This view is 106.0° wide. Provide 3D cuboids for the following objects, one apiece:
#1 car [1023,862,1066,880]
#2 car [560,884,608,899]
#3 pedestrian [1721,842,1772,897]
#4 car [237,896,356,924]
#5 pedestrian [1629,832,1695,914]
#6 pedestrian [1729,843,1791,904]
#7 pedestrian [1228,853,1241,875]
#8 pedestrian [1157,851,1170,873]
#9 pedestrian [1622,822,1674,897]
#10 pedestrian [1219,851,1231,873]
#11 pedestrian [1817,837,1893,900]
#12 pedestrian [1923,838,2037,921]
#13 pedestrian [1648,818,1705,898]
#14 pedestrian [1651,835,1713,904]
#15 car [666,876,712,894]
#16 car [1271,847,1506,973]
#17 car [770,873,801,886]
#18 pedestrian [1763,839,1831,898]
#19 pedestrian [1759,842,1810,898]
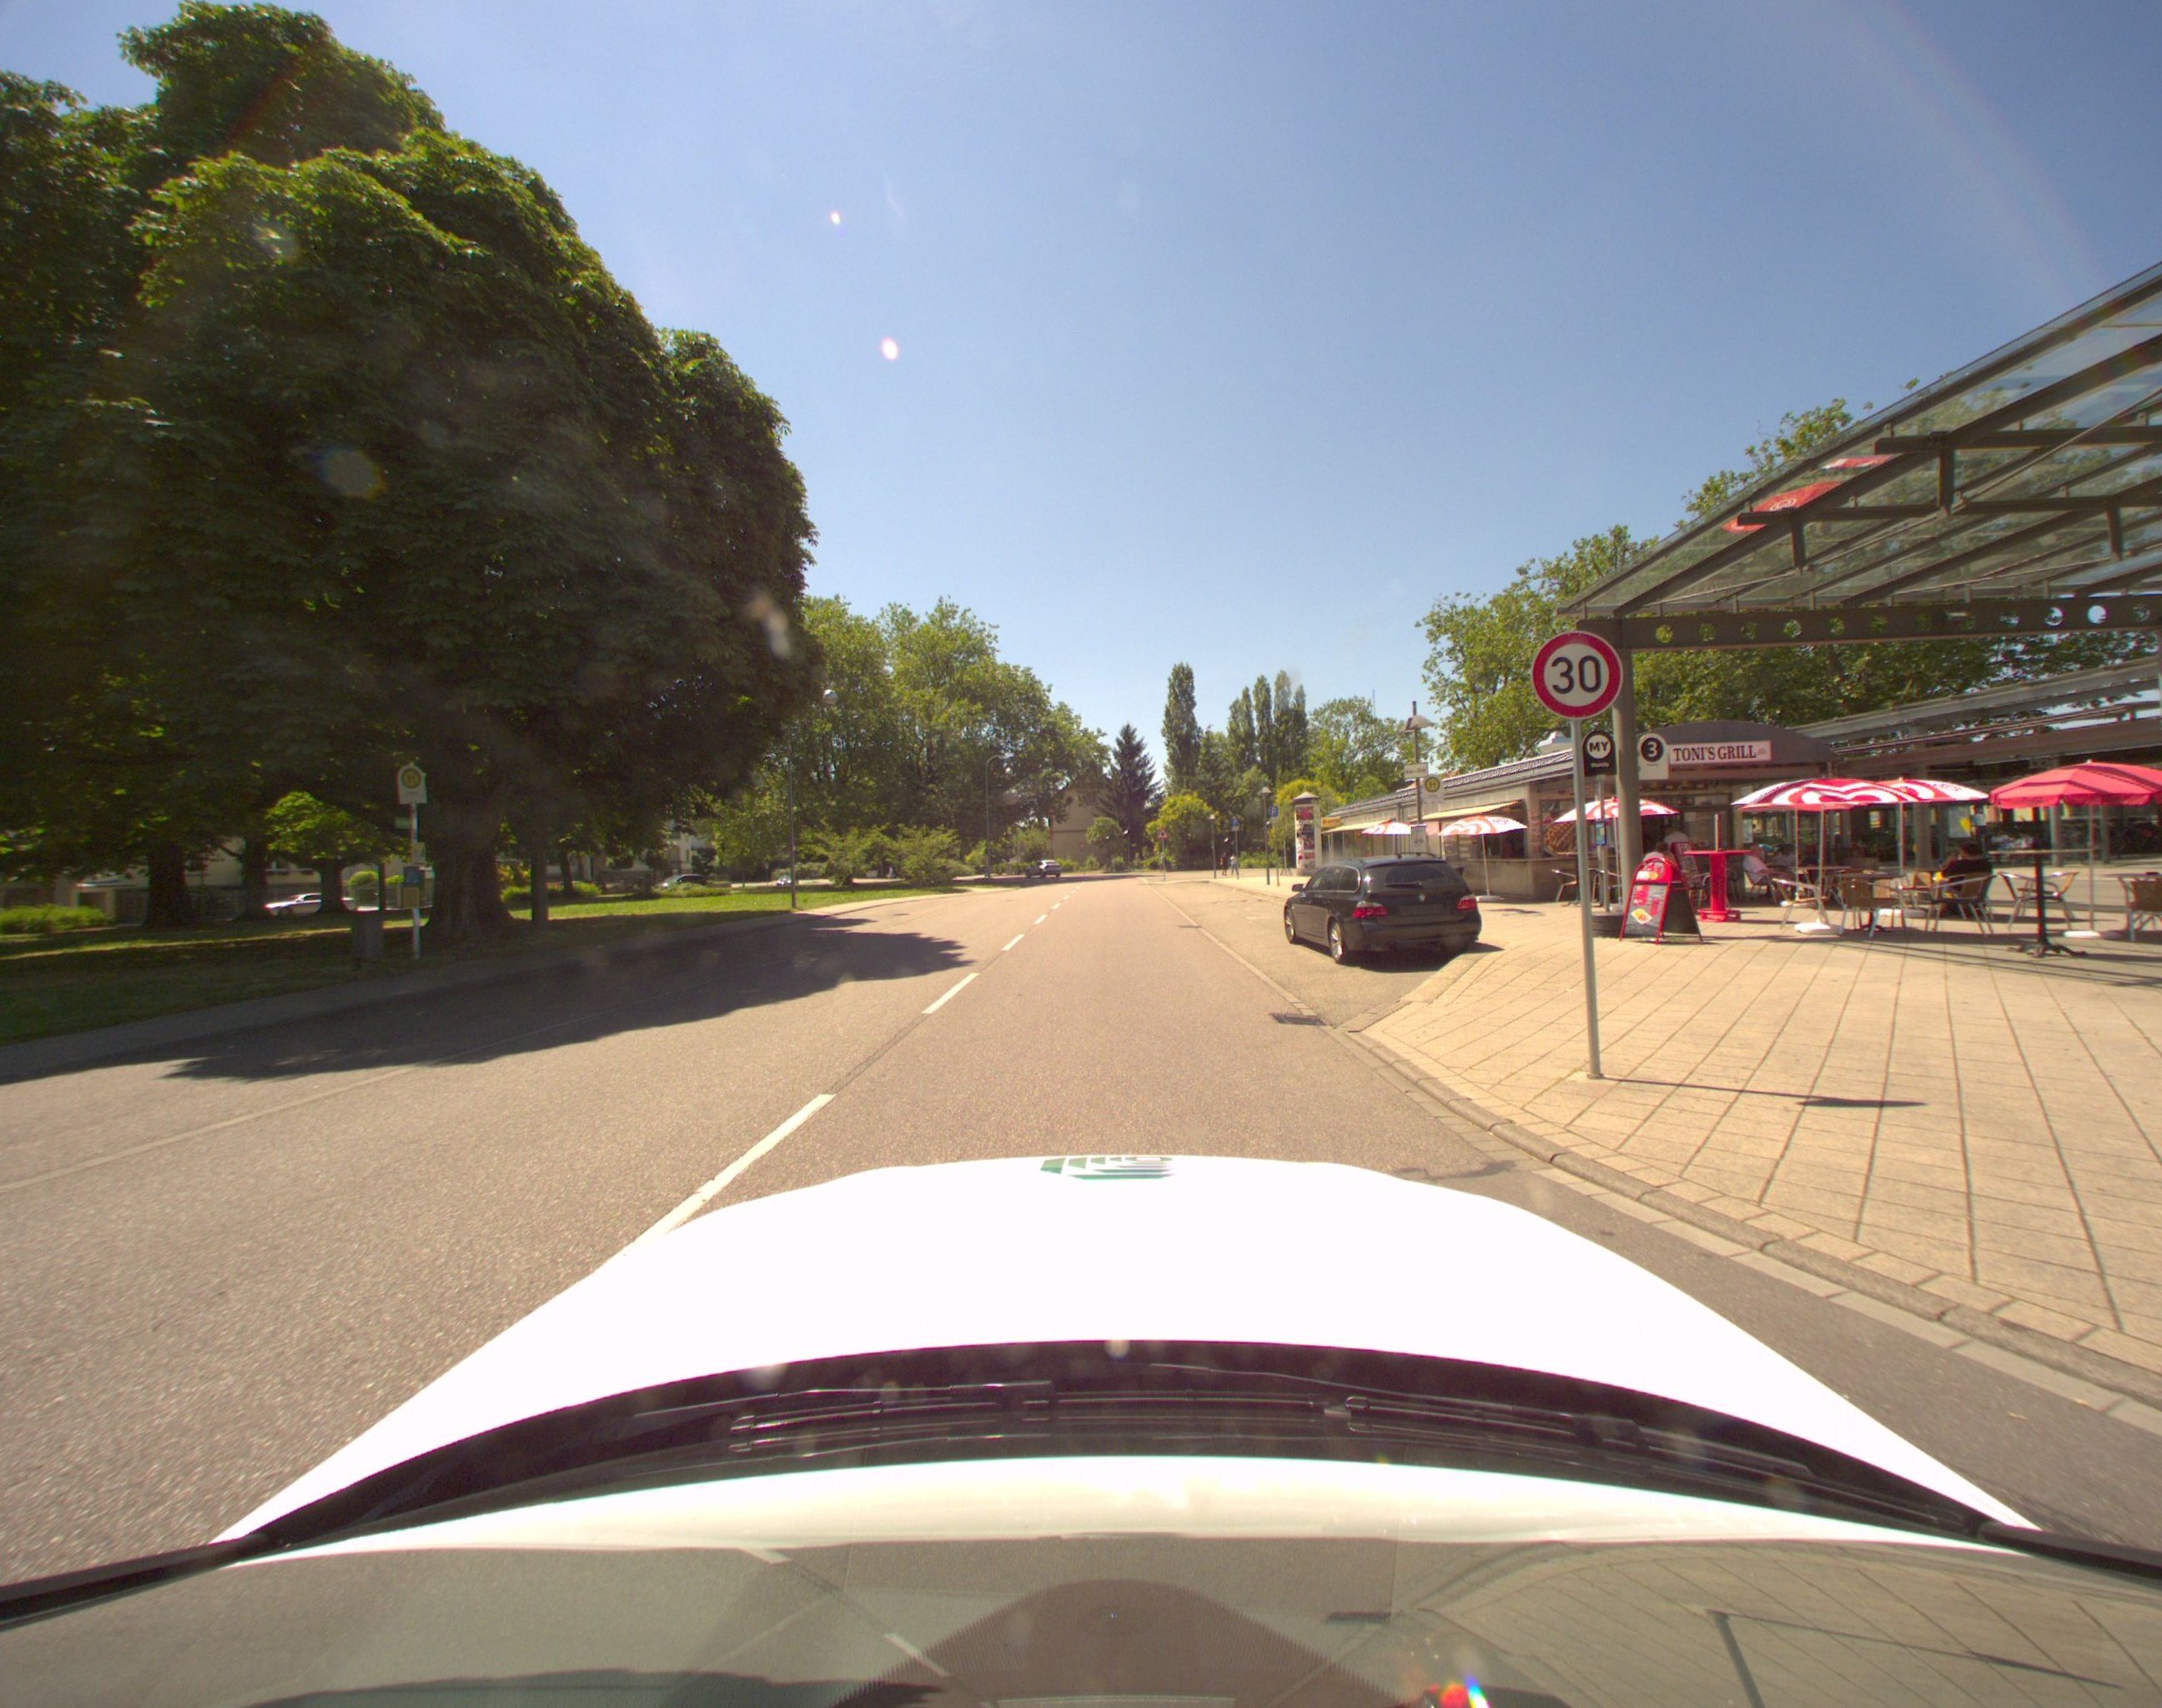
[{"bbox_3d":[-3.579,1.635,78.059,1.996,1.627,4.729,-2,0,-32],"label":"car"},{"bbox_3d":[-46.842,3.562,76.744,3.694,1.252,1.721,-2,-1,15],"label":"car"},{"bbox_3d":[14.727,0.349,18.033,0.652,1.205,0.592,0,-1,1],"label":"pedestrian"},{"bbox_3d":[-48.640,3.455,50.625,1.970,1.349,4.910,-2,-1,19],"label":"car"},{"bbox_3d":[10.507,0.328,14.737,0.899,1.418,0.681,-1,-1,-36],"label":"pedestrian"},{"bbox_3d":[13.471,0.380,16.153,0.898,1.161,0.681,-2,-1,-33],"label":"pedestrian"},{"bbox_3d":[12.092,0.790,64.082,0.713,1.650,0.755,-2,-3,30],"label":"pedestrian"},{"bbox_3d":[7.717,0.740,75.899,0.846,1.965,0.811,-2,-1,42],"label":"pedestrian"},{"bbox_3d":[13.464,0.135,19.348,0.683,1.738,0.707,-2,-1,2],"label":"pedestrian"},{"bbox_3d":[11.086,0.653,62.754,0.629,1.650,0.755,-2,-3,30],"label":"pedestrian"},{"bbox_3d":[15.021,0.285,15.827,0.756,1.205,0.737,0,-1,2],"label":"pedestrian"},{"bbox_3d":[13.355,0.371,12.128,0.683,1.161,0.896,-2,-1,6],"label":"pedestrian"},{"bbox_3d":[13.240,0.089,18.122,0.683,1.738,0.707,-2,-1,2],"label":"pedestrian"},{"bbox_3d":[12.016,0.304,16.291,0.898,1.312,0.681,-1,-1,-33],"label":"pedestrian"},{"bbox_3d":[-35.477,2.796,73.818,1.538,1.410,3.819,-2,0,17],"label":"car"},{"bbox_3d":[4.515,0.744,12.856,1.920,1.460,4.726,-5,-1,1],"label":"car"},{"bbox_3d":[-31.689,2.729,87.385,1.810,1.310,3.989,-2,0,1],"label":"car"},{"bbox_3d":[15.016,0.311,17.096,0.756,1.205,0.737,0,-1,2],"label":"pedestrian"},{"bbox_3d":[15.541,0.350,18.005,0.650,1.205,0.595,0,-1,17],"label":"pedestrian"}]
